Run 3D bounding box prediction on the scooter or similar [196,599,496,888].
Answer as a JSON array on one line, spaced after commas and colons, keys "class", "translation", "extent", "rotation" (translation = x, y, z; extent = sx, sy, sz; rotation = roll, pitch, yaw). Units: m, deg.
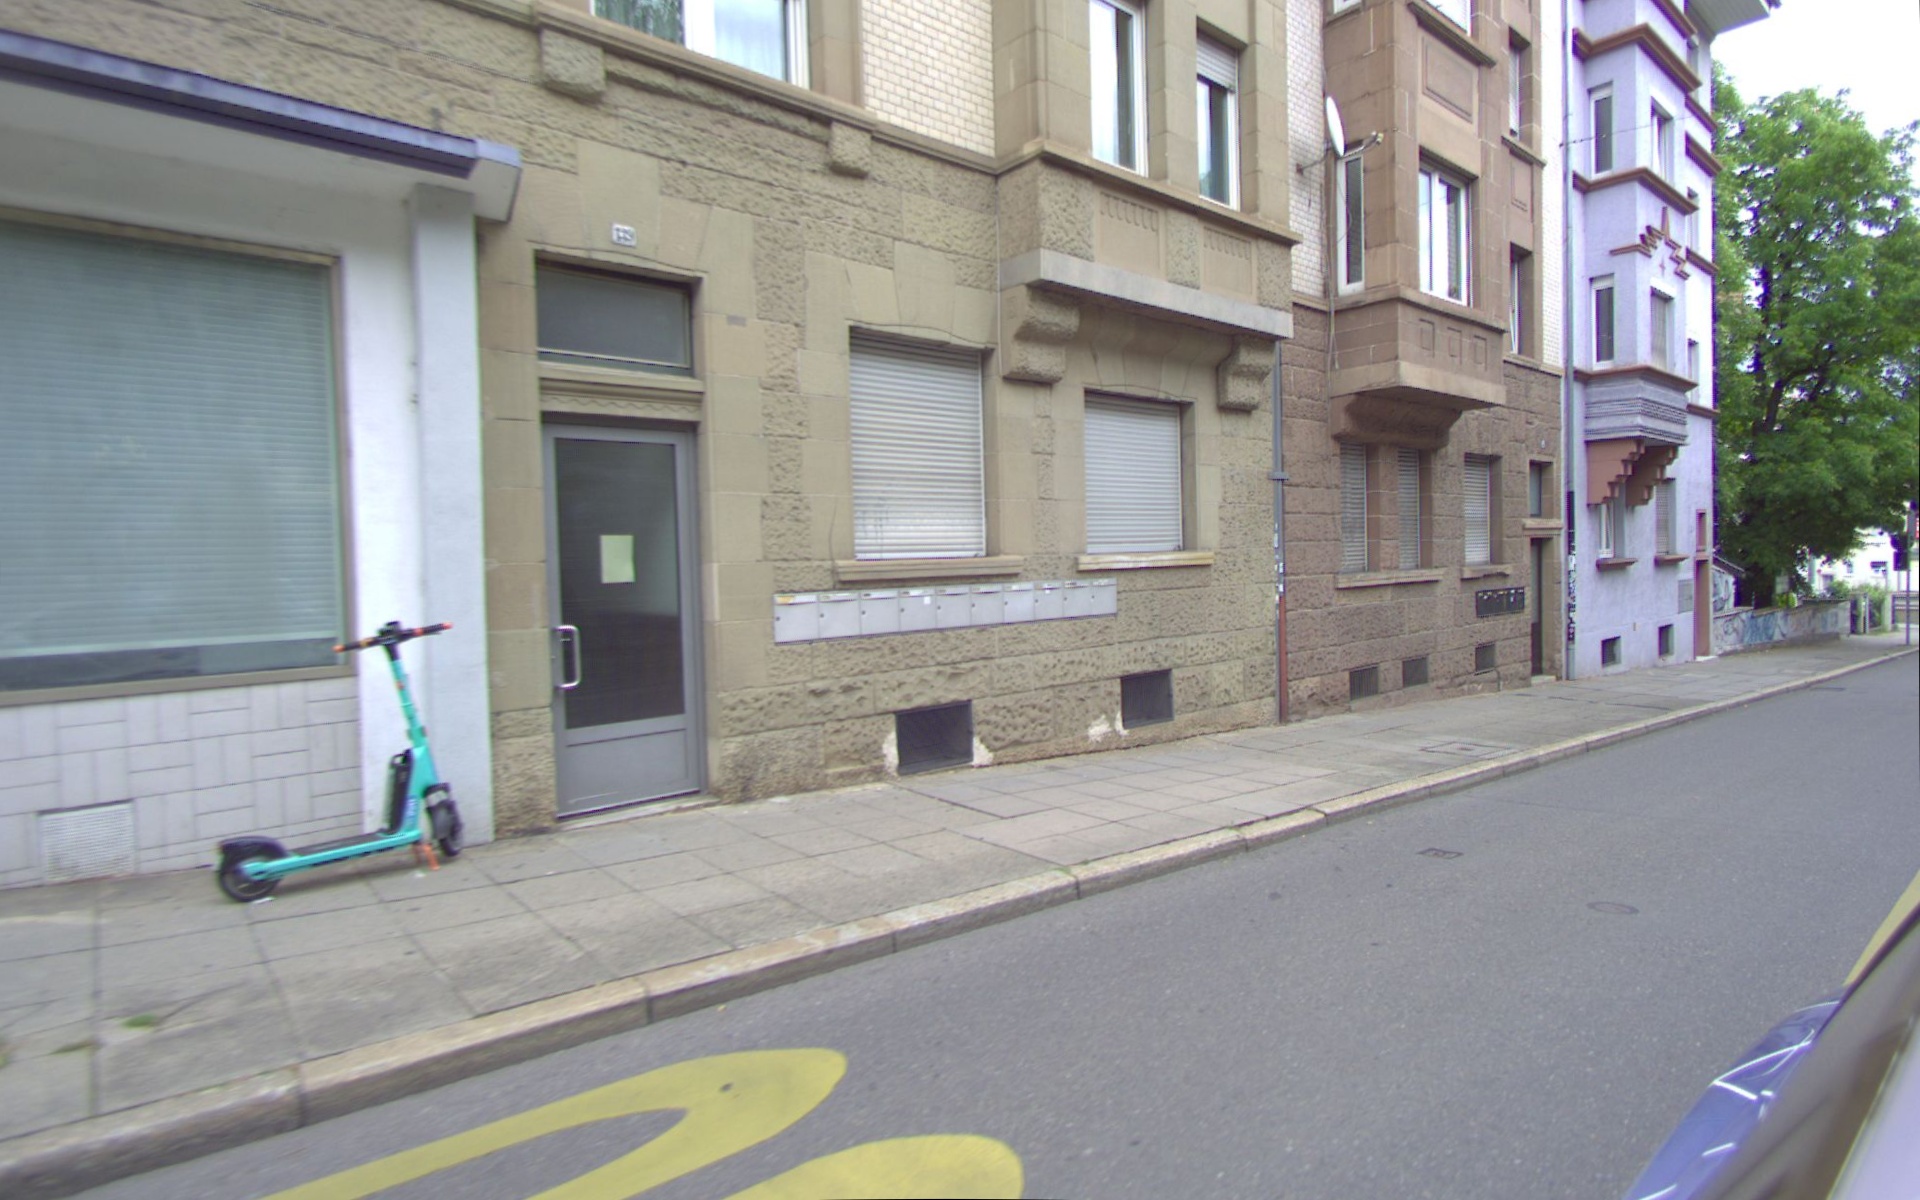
[{"class": "scooter or similar", "translation": [-2.932, 0.640, 4.883], "extent": [1.125, 1.225, 0.410], "rotation": [3, 0, -42]}]
